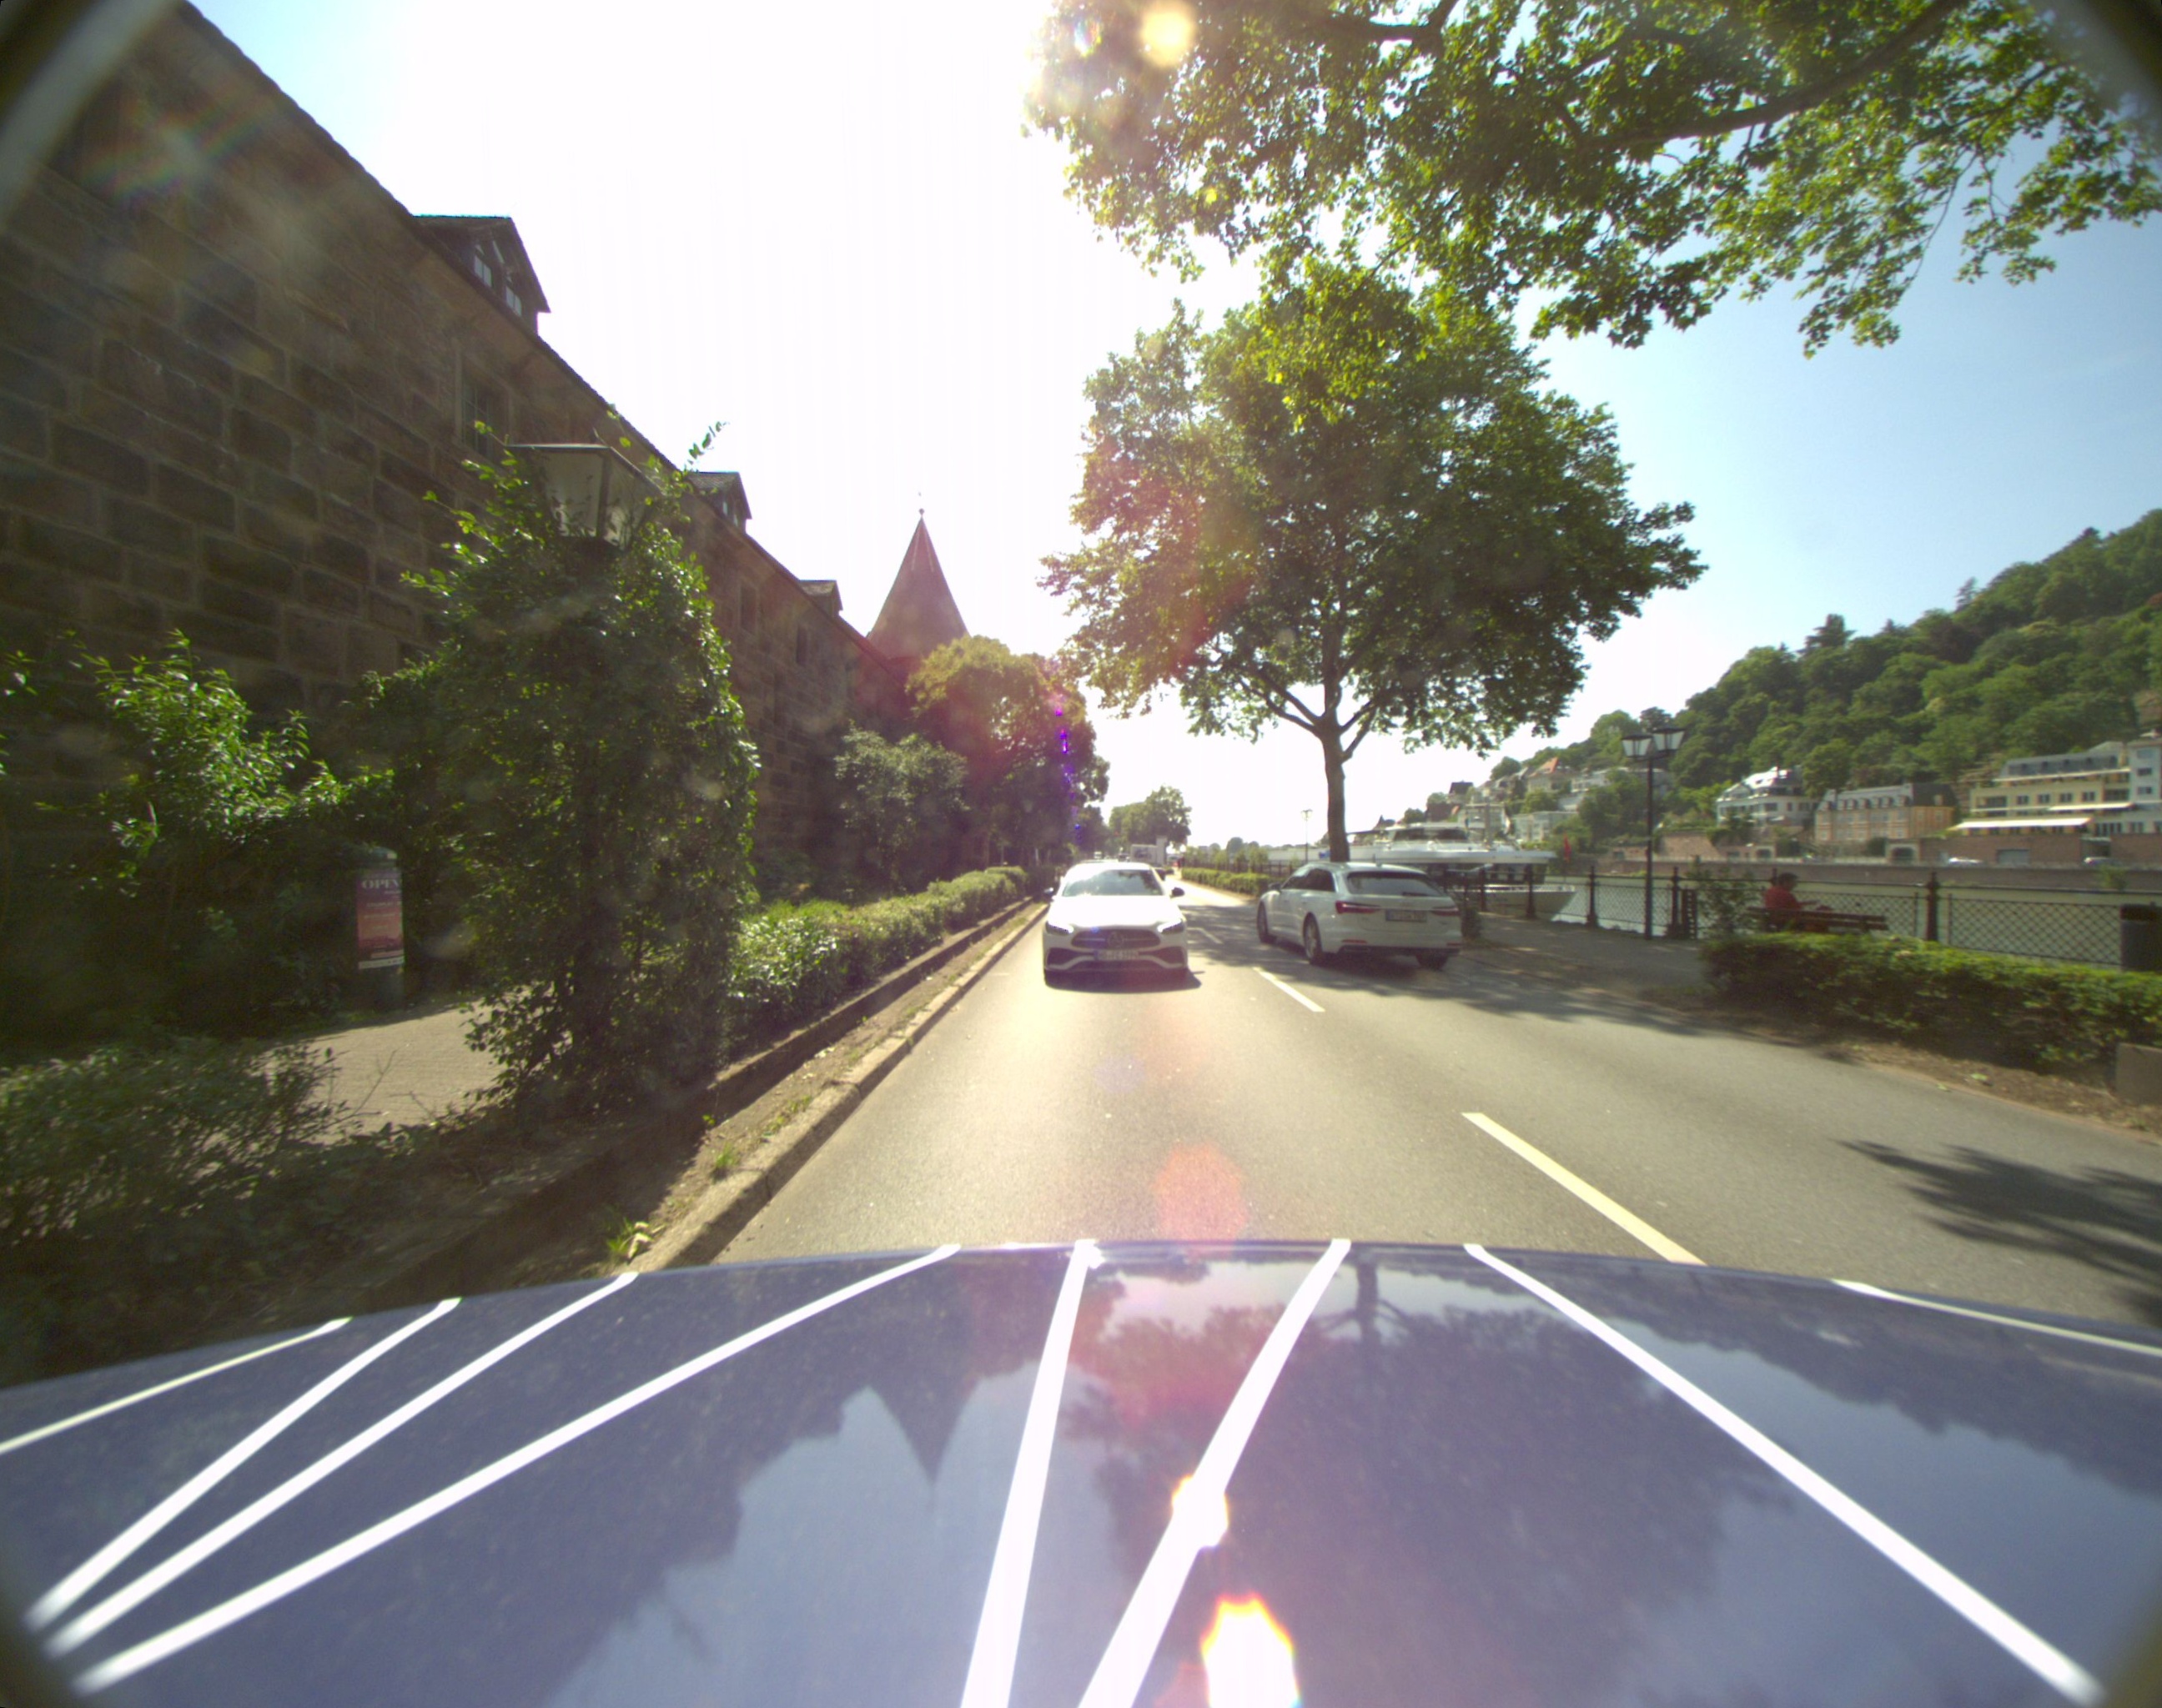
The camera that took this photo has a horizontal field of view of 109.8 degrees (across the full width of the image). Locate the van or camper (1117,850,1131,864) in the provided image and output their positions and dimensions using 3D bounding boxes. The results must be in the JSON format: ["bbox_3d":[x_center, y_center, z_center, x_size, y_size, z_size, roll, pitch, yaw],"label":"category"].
[{"bbox_3d":[6.362,0.476,112.112,1.922,1.975,4.000,1,0,1],"label":"van or camper"}]

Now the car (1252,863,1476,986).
[{"bbox_3d":[4.044,0.903,11.757,1.774,1.448,4.534,1,0,0],"label":"car"}]

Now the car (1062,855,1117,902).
[{"bbox_3d":[0.349,0.854,28.094,1.853,1.543,3.849,1,0,2],"label":"car"}]

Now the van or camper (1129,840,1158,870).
[{"bbox_3d":[5.838,0.069,71.694,2.328,2.647,6.264,2,1,1],"label":"van or camper"}]

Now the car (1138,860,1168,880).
[{"bbox_3d":[5.017,1.089,53.272,1.702,1.204,3.485,4,0,0],"label":"car"}]

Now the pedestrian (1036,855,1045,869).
[{"bbox_3d":[-3.560,0.664,66.836,0.632,1.186,0.747,-2,1,4],"label":"pedestrian"}]

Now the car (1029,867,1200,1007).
[{"bbox_3d":[0.417,0.947,10.441,1.829,1.418,4.359,-1,0,1],"label":"car"}]

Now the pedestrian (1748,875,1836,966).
[{"bbox_3d":[10.818,0.992,11.585,0.704,1.300,0.656,-2,1,2],"label":"pedestrian"}]

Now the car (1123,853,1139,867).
[{"bbox_3d":[6.150,0.734,93.399,1.825,1.603,3.960,1,0,2],"label":"car"}]

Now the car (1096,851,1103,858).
[{"bbox_3d":[5.295,0.058,213.285,1.922,1.975,4.000,1,0,1],"label":"car"}]
